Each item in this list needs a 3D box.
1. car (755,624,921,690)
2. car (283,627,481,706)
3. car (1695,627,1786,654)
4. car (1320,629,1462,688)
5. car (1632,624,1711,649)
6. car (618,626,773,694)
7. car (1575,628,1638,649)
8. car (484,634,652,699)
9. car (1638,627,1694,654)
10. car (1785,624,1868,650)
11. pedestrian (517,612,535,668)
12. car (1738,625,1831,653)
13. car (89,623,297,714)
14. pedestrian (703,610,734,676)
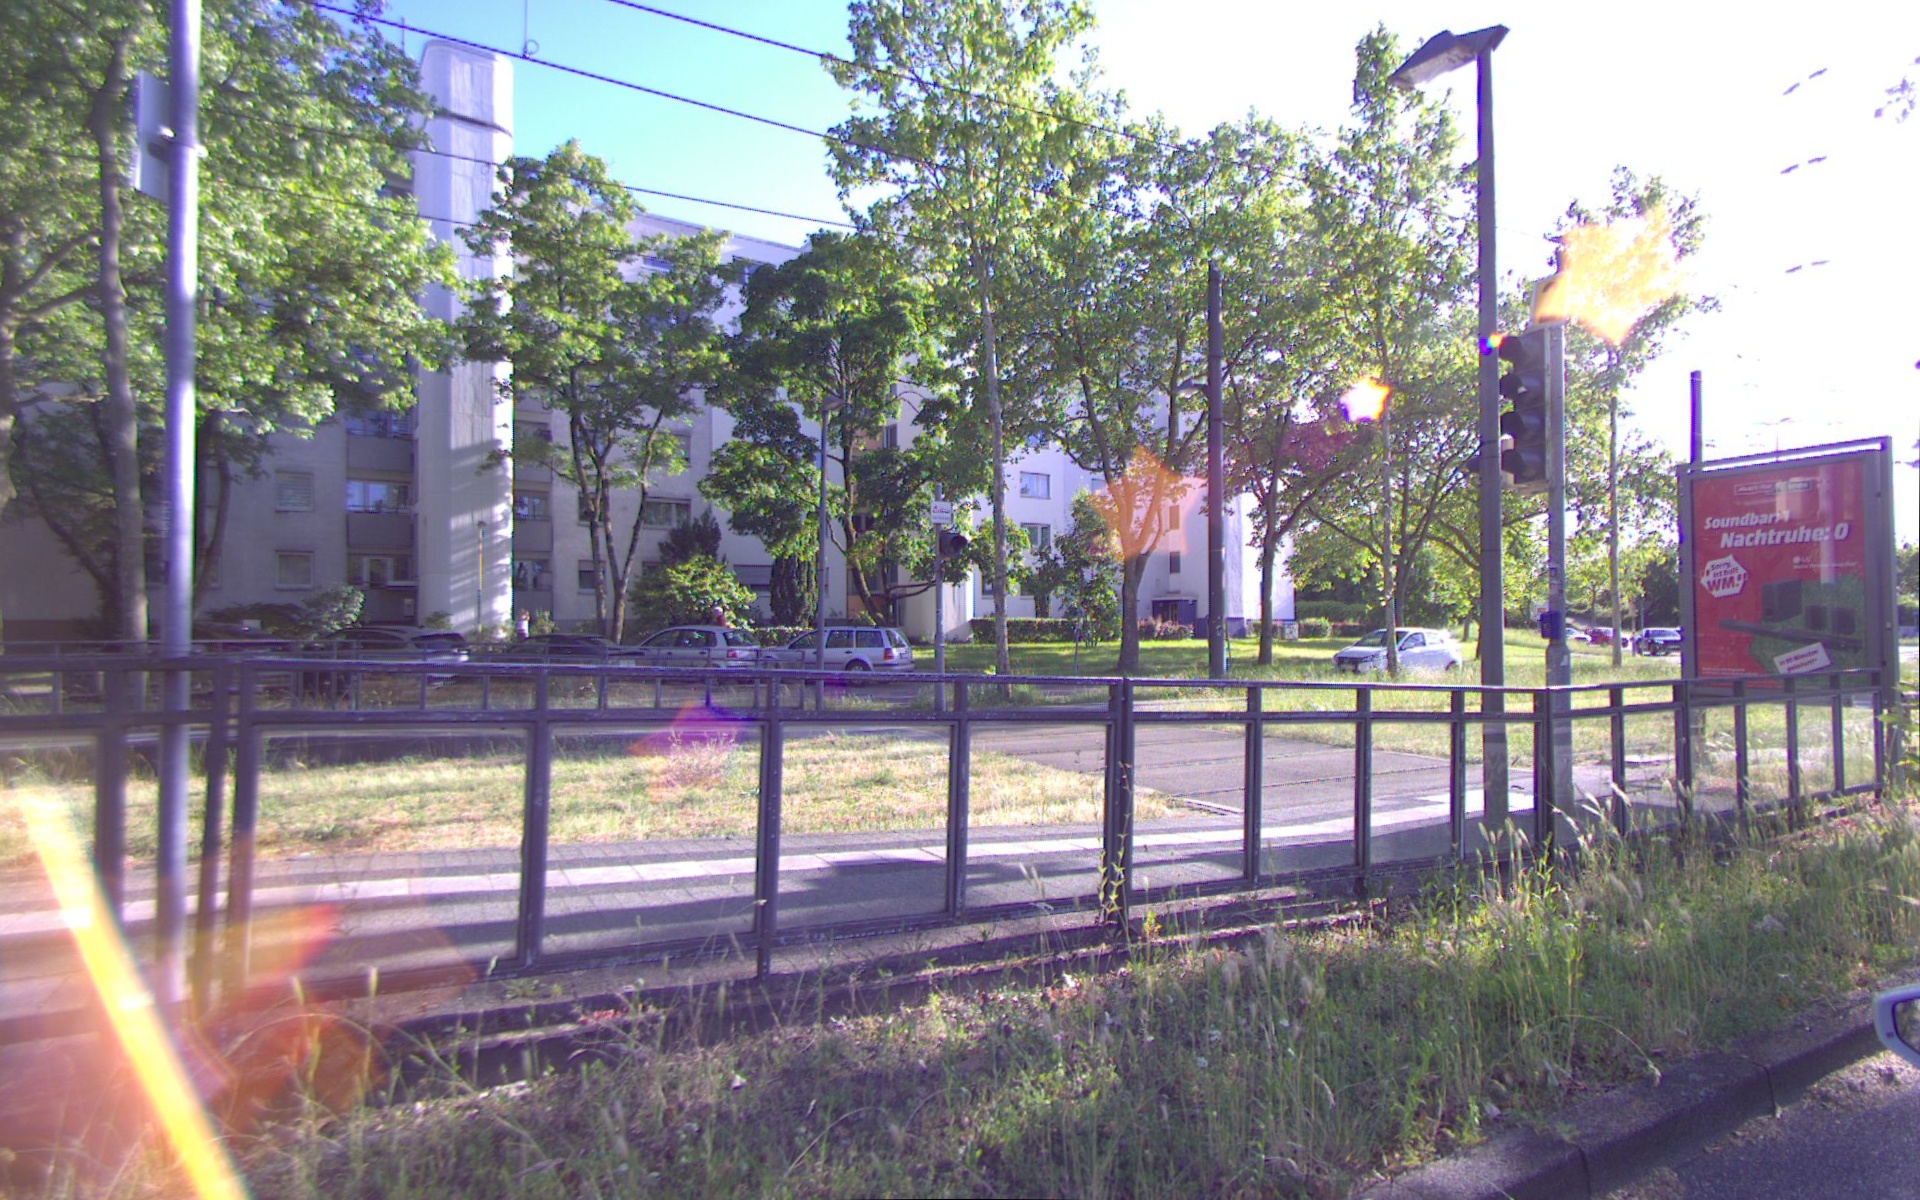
[{"bbox_3d":[-3.073,1.406,25.409,3.843,1.496,1.632,1,-1,18],"label":"car"},{"bbox_3d":[-11.677,1.303,20.344,3.316,1.445,1.541,0,-1,14],"label":"car"},{"bbox_3d":[50.094,2.599,64.609,1.866,1.632,4.493,-2,-2,-10],"label":"car"},{"bbox_3d":[11.588,1.535,26.979,3.674,1.469,1.624,1,-1,-30],"label":"car"},{"bbox_3d":[50.202,2.612,70.990,1.866,1.632,4.493,-2,-2,-10],"label":"car"},{"bbox_3d":[-6.299,1.396,23.972,3.221,1.450,1.571,1,0,19],"label":"car"},{"bbox_3d":[49.776,2.954,77.447,1.783,1.455,4.041,-2,-2,-10],"label":"car"},{"bbox_3d":[-8.645,1.429,22.161,3.318,1.270,1.465,1,-1,21],"label":"car"},{"bbox_3d":[43.353,2.462,61.769,1.863,1.564,4.499,1,-1,22],"label":"car"},{"bbox_3d":[59.313,2.526,68.877,1.866,1.642,3.993,-2,-1,-10],"label":"car"},{"bbox_3d":[-14.239,1.305,32.954,0.445,1.815,0.315,1,-1,-36],"label":"pedestrian"},{"bbox_3d":[53.551,2.528,65.366,1.866,1.632,4.493,-2,-2,-10],"label":"car"},{"bbox_3d":[-14.187,1.220,18.624,3.075,1.568,1.466,0,0,14],"label":"car"},{"bbox_3d":[-6.671,1.181,27.767,0.709,1.816,0.473,1,0,-31],"label":"pedestrian"}]
